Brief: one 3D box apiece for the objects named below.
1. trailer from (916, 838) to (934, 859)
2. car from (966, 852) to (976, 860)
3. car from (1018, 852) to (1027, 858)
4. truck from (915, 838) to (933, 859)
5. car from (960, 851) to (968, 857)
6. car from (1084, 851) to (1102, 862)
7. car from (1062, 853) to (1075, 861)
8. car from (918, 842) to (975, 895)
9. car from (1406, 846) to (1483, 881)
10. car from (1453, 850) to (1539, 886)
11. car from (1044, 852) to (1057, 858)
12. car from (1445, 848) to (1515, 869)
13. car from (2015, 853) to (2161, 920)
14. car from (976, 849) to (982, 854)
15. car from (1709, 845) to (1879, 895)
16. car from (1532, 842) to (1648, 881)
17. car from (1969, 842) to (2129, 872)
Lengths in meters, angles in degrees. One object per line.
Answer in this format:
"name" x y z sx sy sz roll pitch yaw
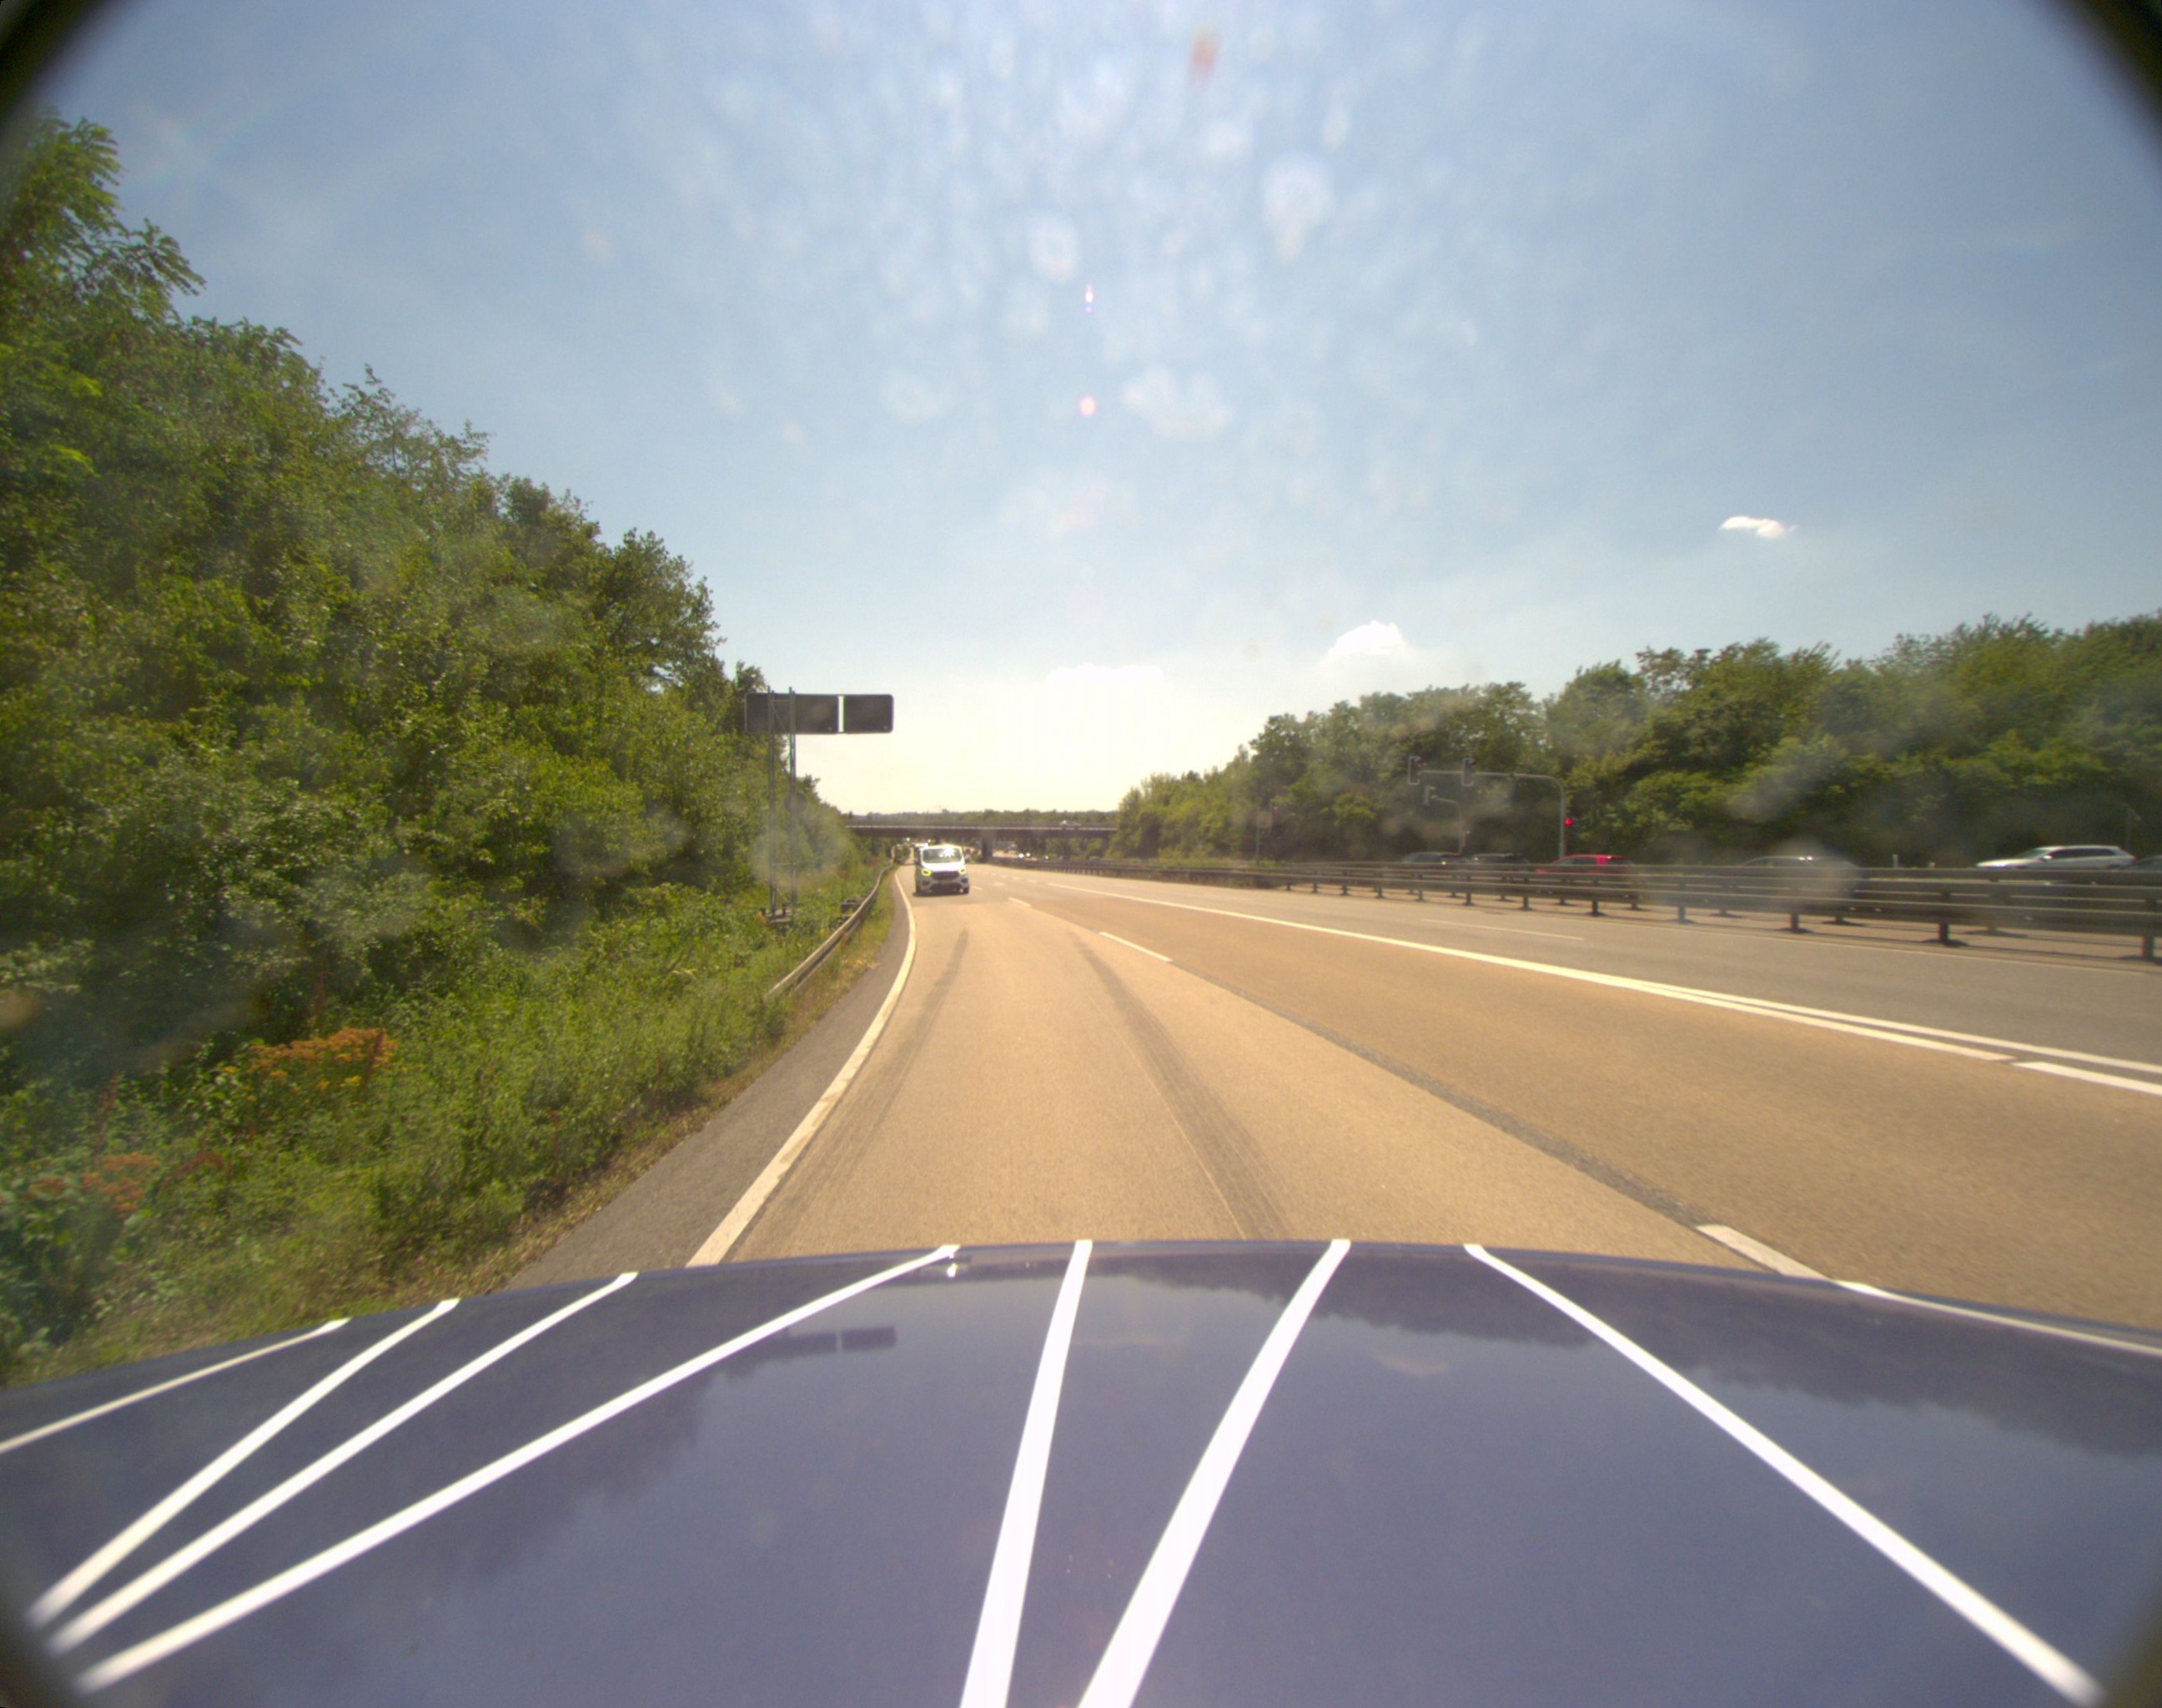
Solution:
"trailer" -39.171 -1.303 191.008 3.972 4.923 15.985 -1 0 -11
"car" -23.738 0.467 163.609 2.000 1.622 4.469 -1 0 -10
"car" -14.664 0.317 189.574 1.759 1.516 4.468 -1 0 -12
"truck" -37.790 -1.301 183.199 3.988 4.923 6.223 -1 1 -11
"car" -32.392 0.067 210.684 2.000 1.622 4.469 -1 0 -10
"car" 1.716 0.418 111.441 1.719 1.559 3.995 -1 0 -14
"car" -2.510 0.605 152.061 1.655 1.402 4.468 -1 0 -11
"car" -5.776 0.551 32.126 2.064 2.002 5.035 -2 1 -12
"car" 13.705 0.342 28.766 1.157 1.229 2.724 -1 0 -14
"car" 16.545 0.534 30.424 1.345 1.341 3.013 -1 0 -14
"car" -7.066 0.210 174.444 2.134 1.502 4.468 -1 0 -12
"car" 24.089 0.242 45.927 3.360 1.215 1.713 0 1 44
"car" 24.041 0.703 17.026 1.488 1.441 3.663 -1 0 -14
"car" -33.581 -0.828 250.562 2.000 1.622 4.469 -1 0 -9
"car" 22.139 0.460 23.780 1.655 1.385 3.567 -1 0 -14
"car" 20.434 0.292 30.652 1.568 1.441 3.698 -1 0 -18
"car" 42.021 0.135 33.114 3.936 1.215 1.712 -1 1 24
